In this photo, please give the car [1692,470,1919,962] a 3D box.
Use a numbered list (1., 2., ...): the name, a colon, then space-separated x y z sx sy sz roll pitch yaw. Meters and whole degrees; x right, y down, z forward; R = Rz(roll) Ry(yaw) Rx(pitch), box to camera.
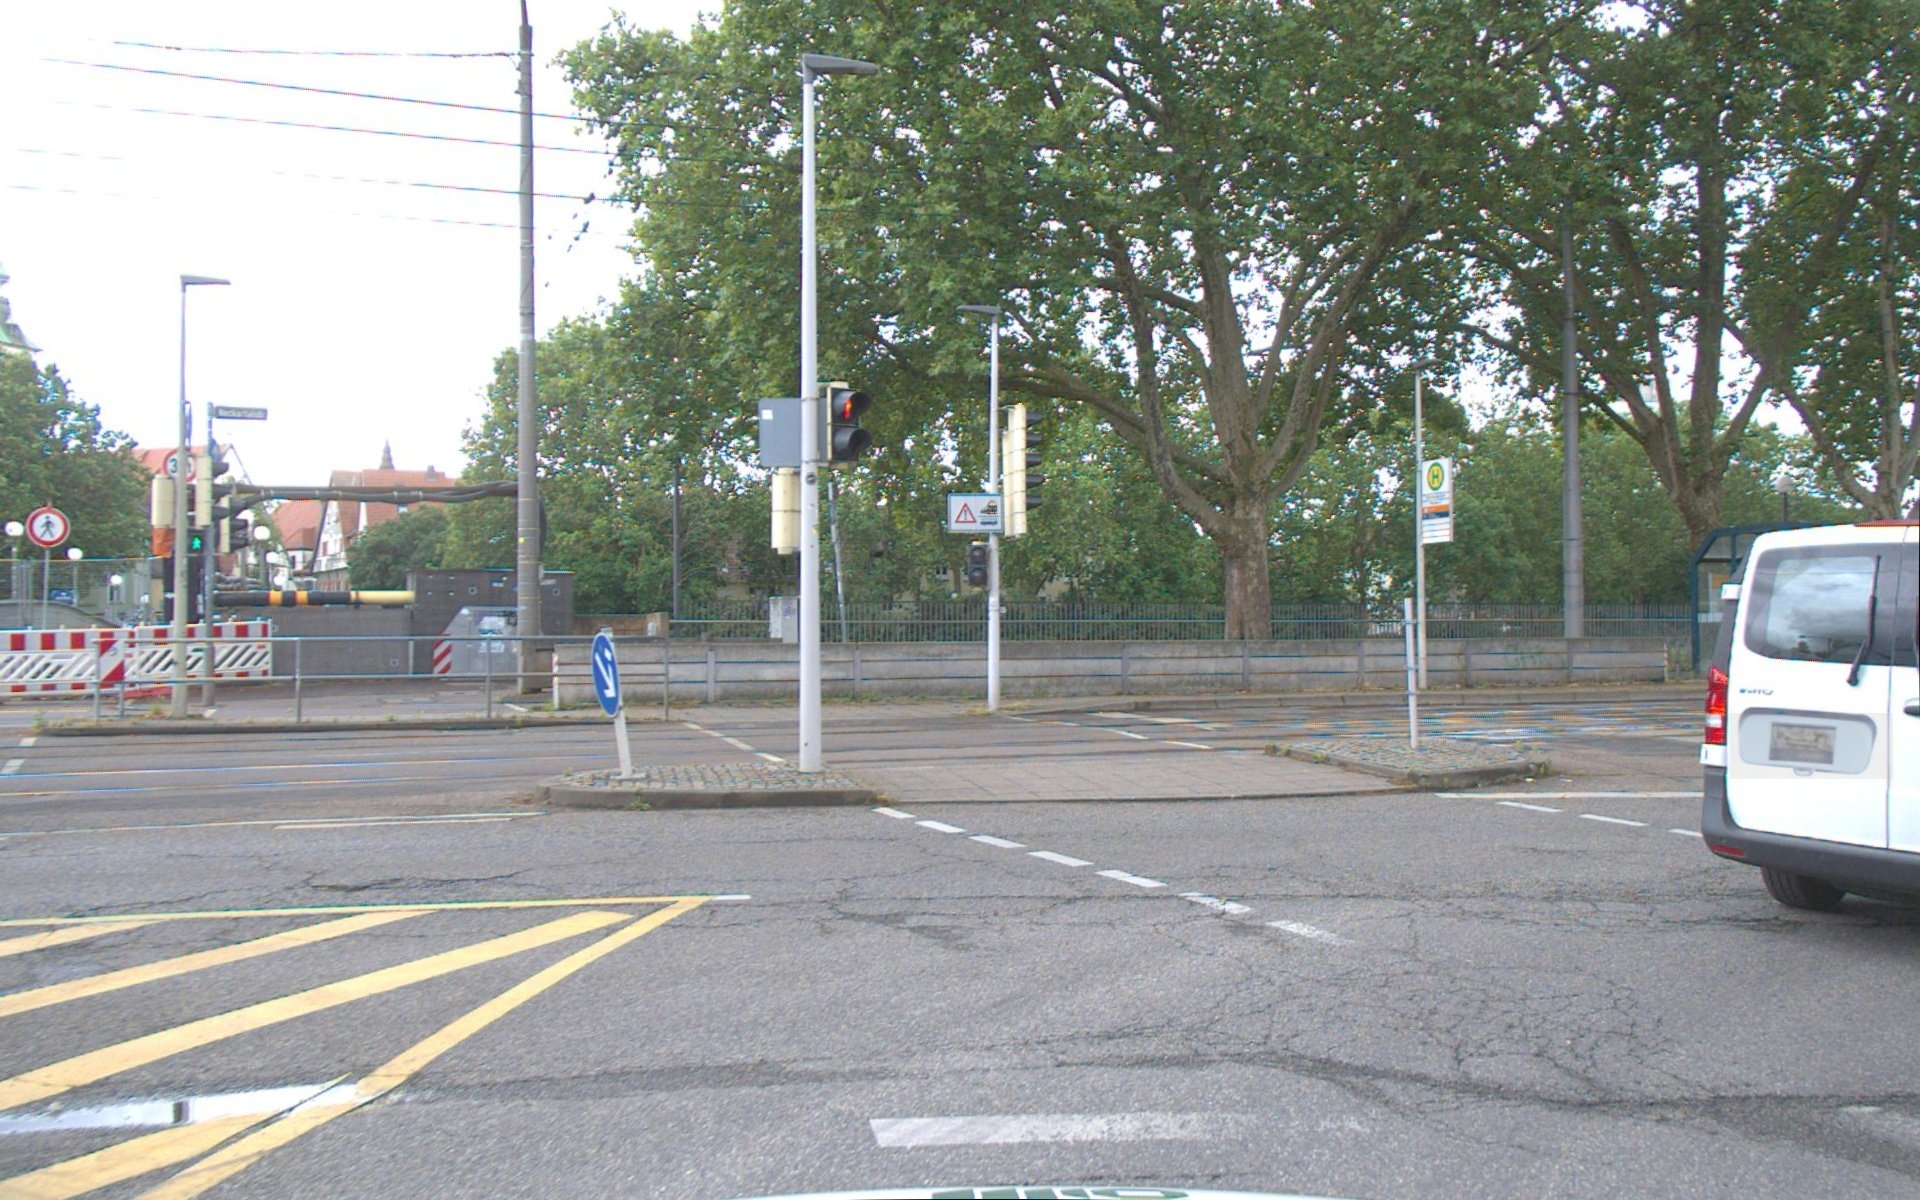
1. car: 5.832 0.528 8.328 4.647 2.049 1.932 2 -1 -37
